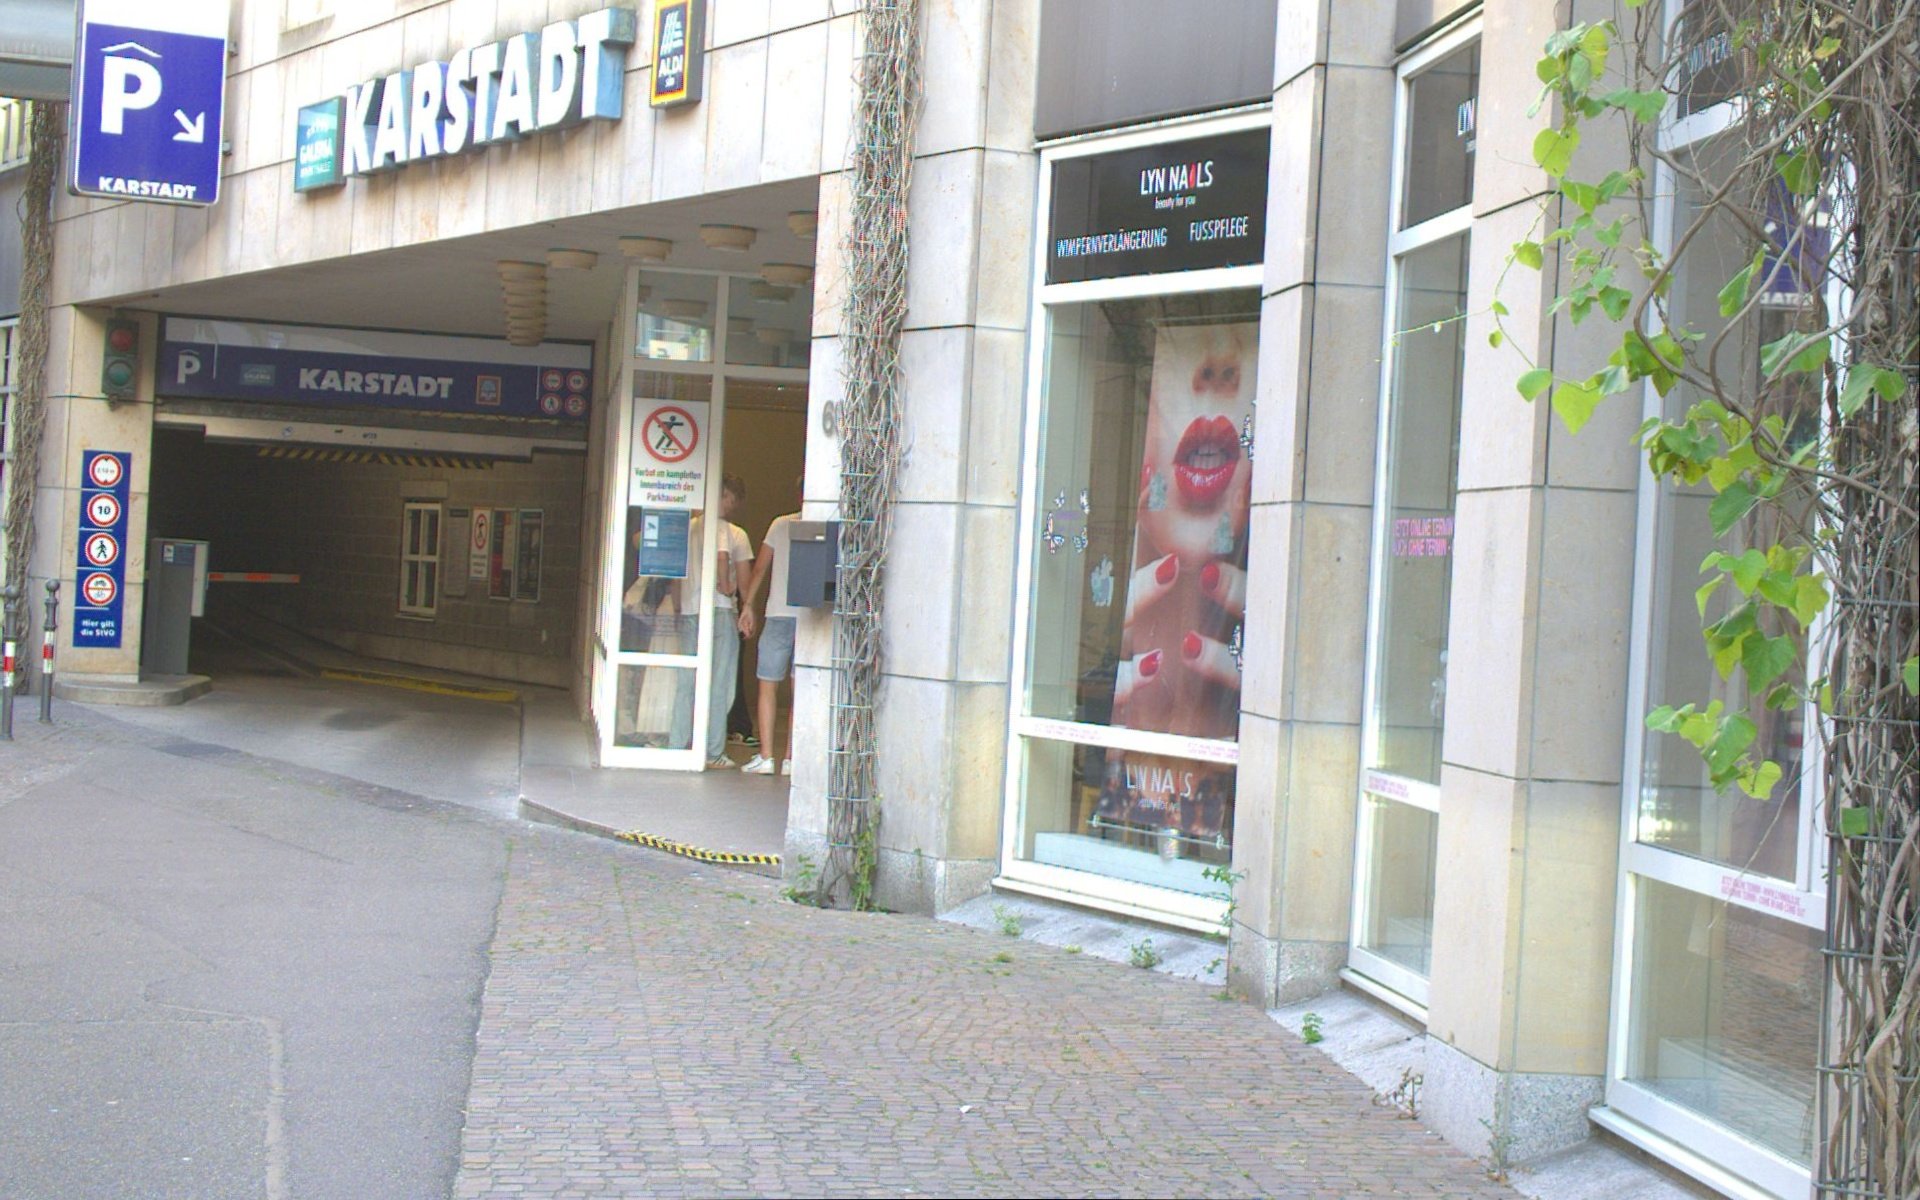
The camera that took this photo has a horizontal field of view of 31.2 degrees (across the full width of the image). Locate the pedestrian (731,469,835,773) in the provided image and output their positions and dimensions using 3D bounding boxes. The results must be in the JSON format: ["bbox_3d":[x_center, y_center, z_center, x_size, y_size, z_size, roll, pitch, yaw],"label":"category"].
[{"bbox_3d":[-1.102,0.123,21.447,0.542,1.855,0.408,3,1,-1],"label":"pedestrian"}]

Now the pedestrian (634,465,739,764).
[{"bbox_3d":[-1.715,0.086,21.612,0.542,1.840,0.408,3,1,-1],"label":"pedestrian"}]
